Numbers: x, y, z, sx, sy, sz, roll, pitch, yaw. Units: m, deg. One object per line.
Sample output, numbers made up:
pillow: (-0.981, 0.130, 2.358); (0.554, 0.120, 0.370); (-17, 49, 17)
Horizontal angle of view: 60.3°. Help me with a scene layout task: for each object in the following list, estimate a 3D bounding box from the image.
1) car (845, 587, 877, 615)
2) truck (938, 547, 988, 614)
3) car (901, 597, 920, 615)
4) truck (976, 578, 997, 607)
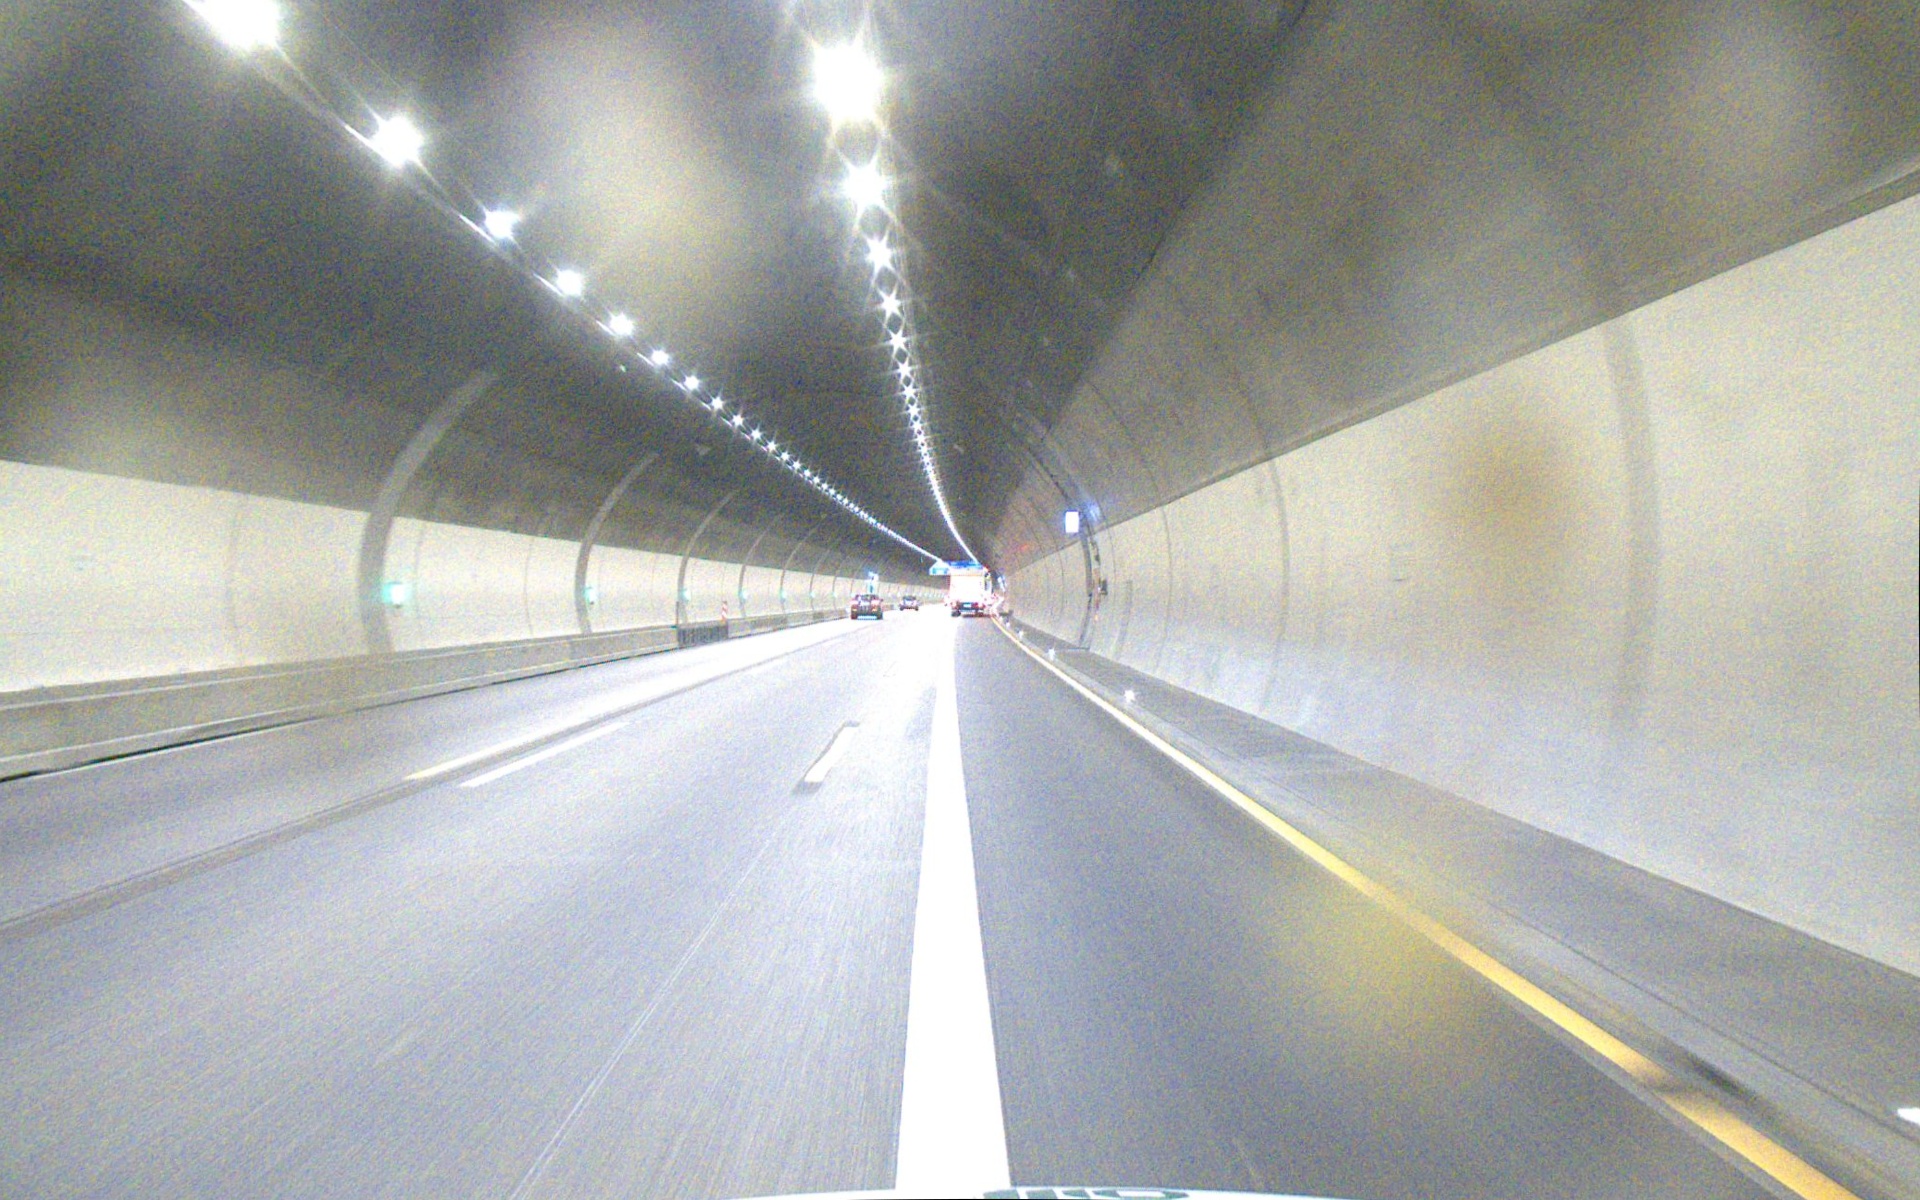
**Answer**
car: (-6.006, 0.027, 100.549); (1.776, 1.646, 3.999); (1, 0, -1)
truck: (0.091, -1.423, 126.888); (3.212, 4.731, 17.279); (0, 0, -2)
car: (-4.706, 0.532, 156.220); (1.776, 1.546, 3.999); (1, 2, -2)
truck: (3.949, -1.127, 248.571); (2.863, 4.118, 14.028); (0, 0, 0)
